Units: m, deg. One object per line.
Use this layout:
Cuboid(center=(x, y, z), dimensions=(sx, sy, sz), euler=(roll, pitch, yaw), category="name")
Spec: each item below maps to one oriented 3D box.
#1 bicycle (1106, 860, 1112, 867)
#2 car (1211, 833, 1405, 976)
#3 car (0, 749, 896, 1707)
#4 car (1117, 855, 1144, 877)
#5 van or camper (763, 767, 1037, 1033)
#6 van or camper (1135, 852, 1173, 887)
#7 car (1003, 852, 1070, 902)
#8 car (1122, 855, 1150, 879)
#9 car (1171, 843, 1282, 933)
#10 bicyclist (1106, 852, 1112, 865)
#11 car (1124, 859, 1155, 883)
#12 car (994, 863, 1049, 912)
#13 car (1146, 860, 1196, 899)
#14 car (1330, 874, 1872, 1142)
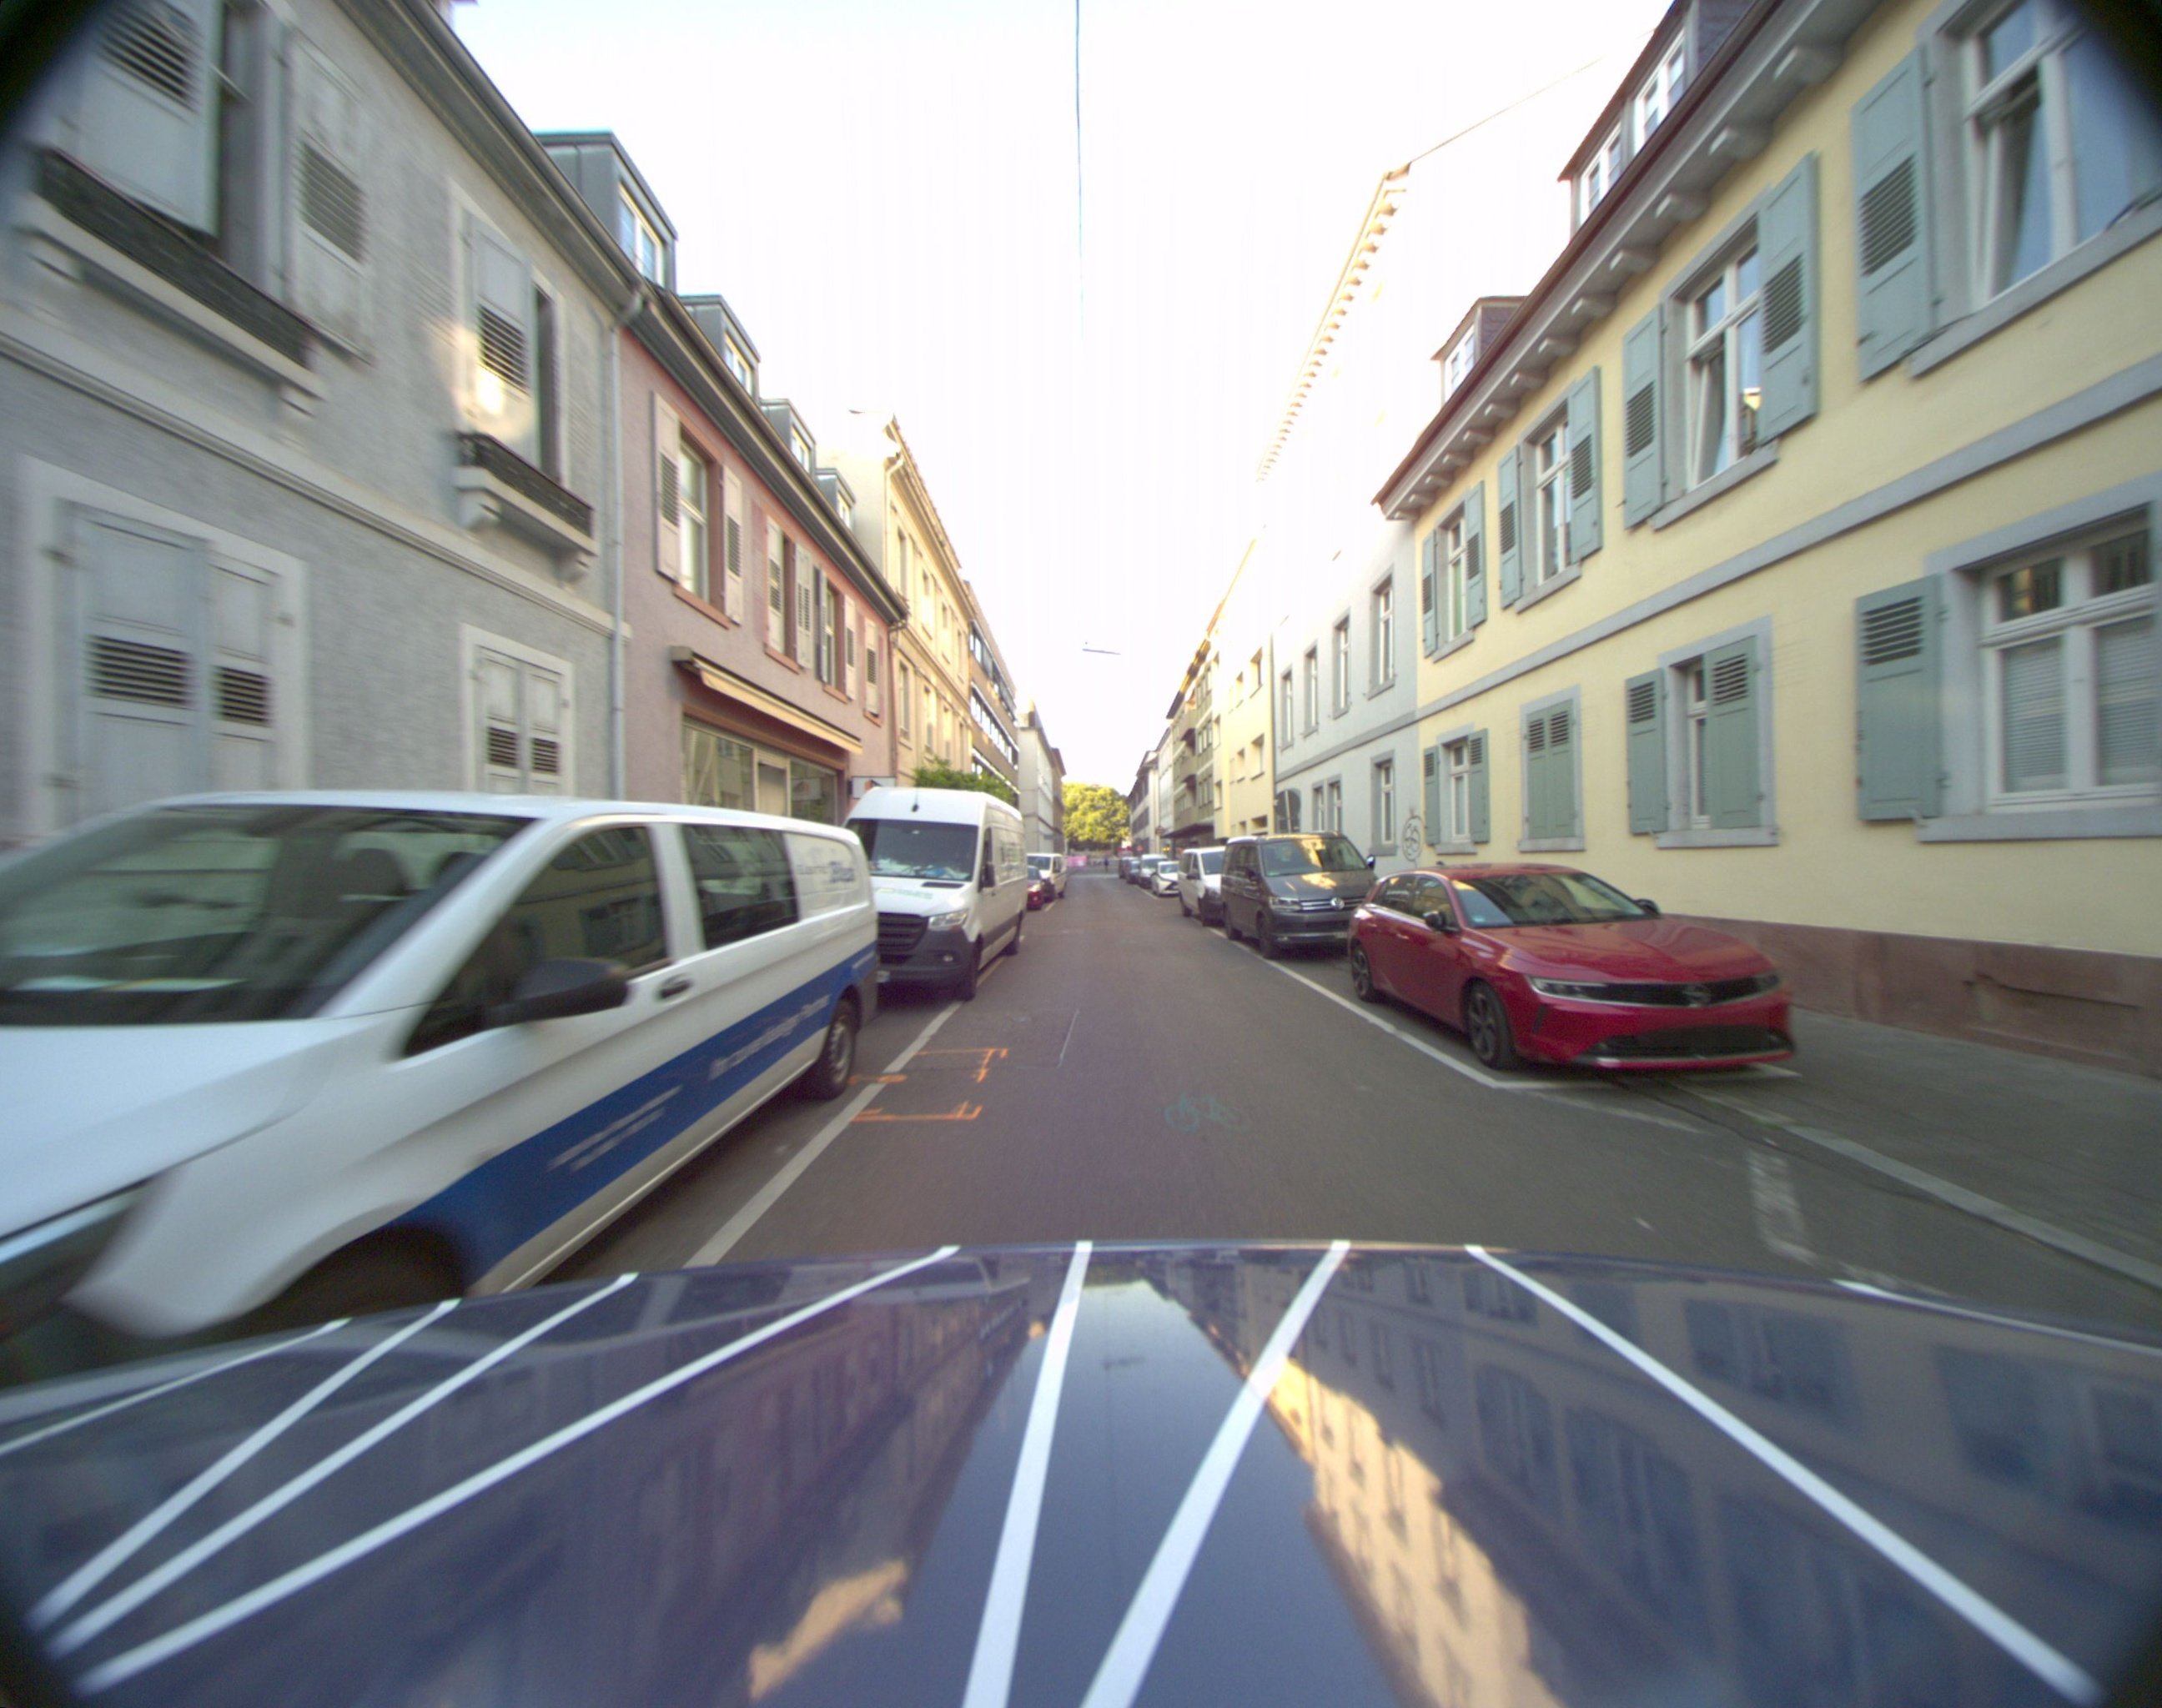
Cuboid(center=(3.543, 1.189, 95.954), dimensions=(0.635, 0.916, 1.779), euler=(-1, 0, 1), category="bicycle")
Cuboid(center=(3.619, 0.725, 13.134), dimensions=(1.867, 2.002, 4.814), euler=(-1, 0, 0), category="car")
Cuboid(center=(-2.514, 0.744, 3.362), dimensions=(1.946, 1.883, 5.317), euler=(3, 0, 1), category="car")
Cuboid(center=(4.188, 1.006, 65.093), dimensions=(1.882, 1.800, 4.450), euler=(-2, 0, -2), category="car")
Cuboid(center=(-2.013, 0.481, 11.090), dimensions=(2.055, 2.622, 7.063), euler=(-1, 0, 2), category="van or camper")
Cuboid(center=(3.961, 0.824, 41.733), dimensions=(1.776, 1.837, 4.179), euler=(0, 0, 2), category="van or camper")
Cuboid(center=(-1.703, 0.878, 31.082), dimensions=(1.940, 1.886, 5.279), euler=(0, 0, 5), category="car")
Cuboid(center=(4.299, 0.999, 59.958), dimensions=(1.777, 1.800, 4.510), euler=(-2, 0, 0), category="car")
Cuboid(center=(3.570, 0.783, 19.612), dimensions=(1.867, 2.002, 5.106), euler=(-1, 0, 0), category="car")
Cuboid(center=(3.522, 0.524, 95.894), dimensions=(0.625, 1.630, 1.081), euler=(-1, 0, 1), category="bicyclist")
Cuboid(center=(3.799, 1.085, 49.580), dimensions=(1.628, 1.407, 3.980), euler=(-2, 0, 0), category="car")
Cuboid(center=(-1.977, 1.095, 26.026), dimensions=(1.659, 1.496, 3.753), euler=(-1, 0, -1), category="car")
Cuboid(center=(3.812, 1.043, 32.544), dimensions=(1.666, 1.440, 3.521), euler=(-4, 0, 1), category="car")
Cuboid(center=(3.661, 0.942, 6.471), dimensions=(1.769, 1.393, 4.263), euler=(-1, 0, 2), category="car")
